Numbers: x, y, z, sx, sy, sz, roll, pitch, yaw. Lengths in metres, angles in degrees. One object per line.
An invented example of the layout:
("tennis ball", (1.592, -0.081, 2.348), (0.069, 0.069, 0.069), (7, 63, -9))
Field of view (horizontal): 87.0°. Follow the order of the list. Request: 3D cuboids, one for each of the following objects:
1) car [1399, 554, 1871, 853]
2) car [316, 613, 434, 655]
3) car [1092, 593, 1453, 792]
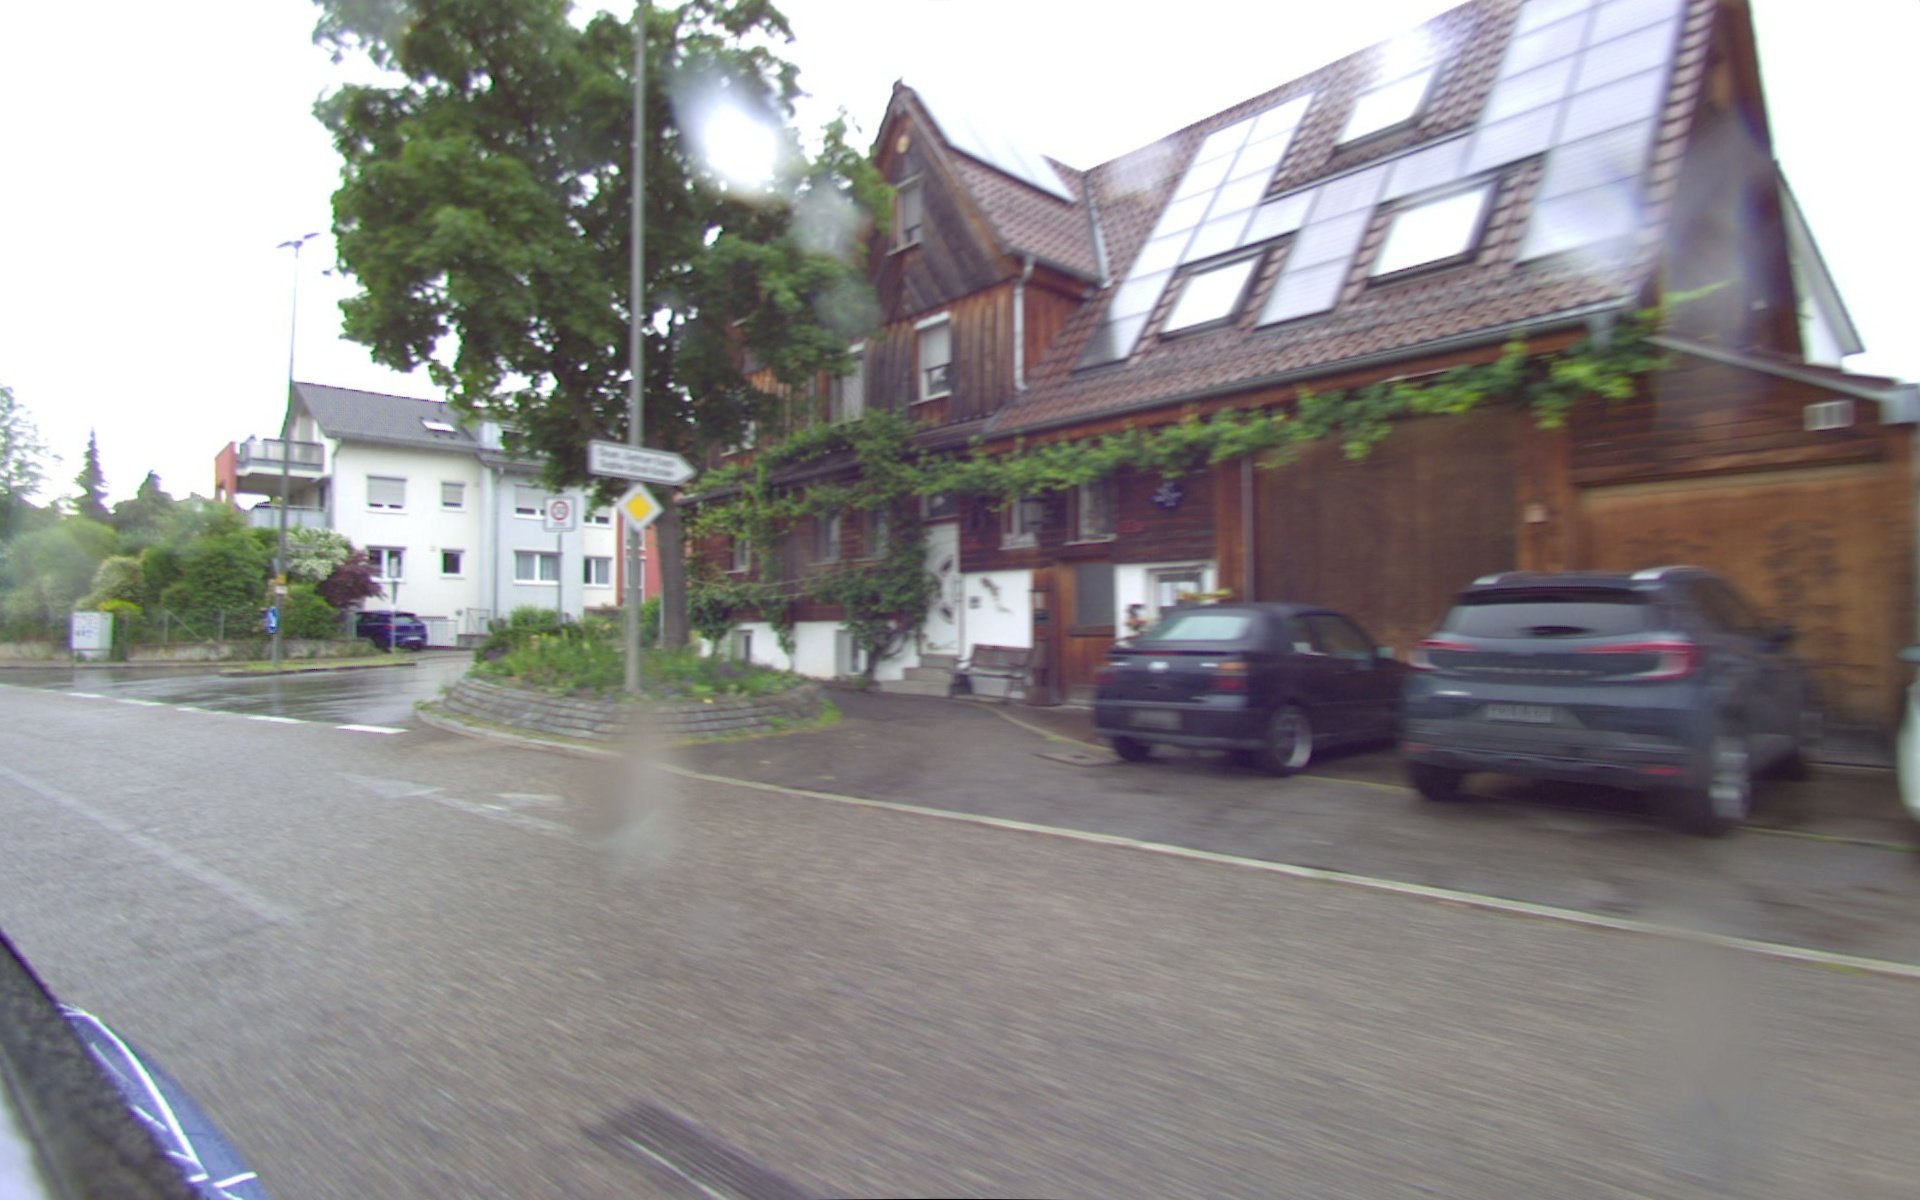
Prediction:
("car", (4.784, 0.495, 7.007), (3.532, 1.517, 1.858), (-2, 0, -42))
("car", (-20.759, 1.179, 35.957), (3.600, 1.432, 1.765), (0, -2, 21))
("car", (2.897, 0.712, 9.052), (3.405, 1.429, 1.634), (2, -2, -43))
